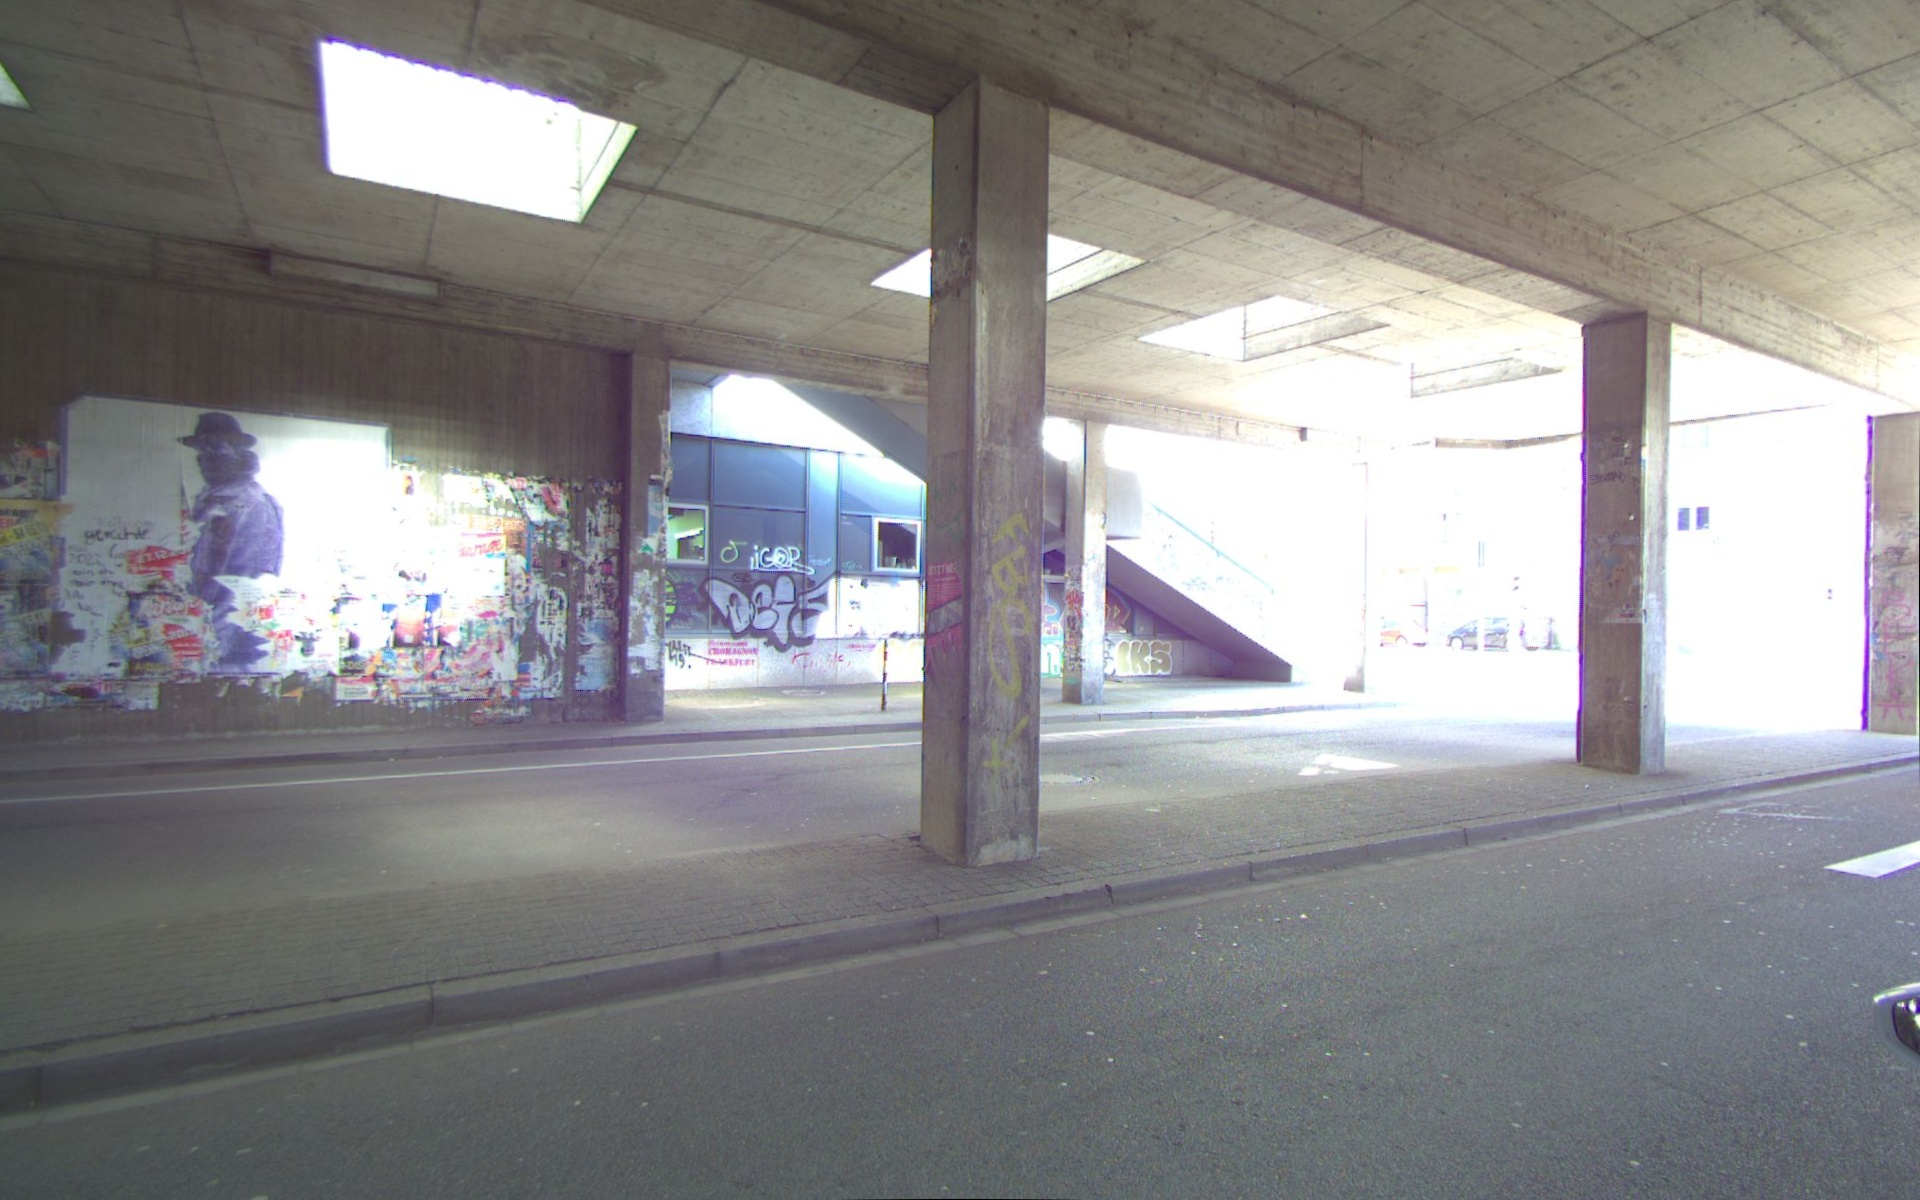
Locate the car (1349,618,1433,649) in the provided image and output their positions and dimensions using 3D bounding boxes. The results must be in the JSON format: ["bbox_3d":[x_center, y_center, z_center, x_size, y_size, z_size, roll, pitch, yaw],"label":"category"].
[{"bbox_3d":[22.534,1.739,52.590,1.730,1.495,3.741,2,-1,-31],"label":"car"}]

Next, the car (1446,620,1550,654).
[{"bbox_3d":[25.447,1.720,47.635,1.718,1.495,4.089,2,-1,-31],"label":"car"}]
